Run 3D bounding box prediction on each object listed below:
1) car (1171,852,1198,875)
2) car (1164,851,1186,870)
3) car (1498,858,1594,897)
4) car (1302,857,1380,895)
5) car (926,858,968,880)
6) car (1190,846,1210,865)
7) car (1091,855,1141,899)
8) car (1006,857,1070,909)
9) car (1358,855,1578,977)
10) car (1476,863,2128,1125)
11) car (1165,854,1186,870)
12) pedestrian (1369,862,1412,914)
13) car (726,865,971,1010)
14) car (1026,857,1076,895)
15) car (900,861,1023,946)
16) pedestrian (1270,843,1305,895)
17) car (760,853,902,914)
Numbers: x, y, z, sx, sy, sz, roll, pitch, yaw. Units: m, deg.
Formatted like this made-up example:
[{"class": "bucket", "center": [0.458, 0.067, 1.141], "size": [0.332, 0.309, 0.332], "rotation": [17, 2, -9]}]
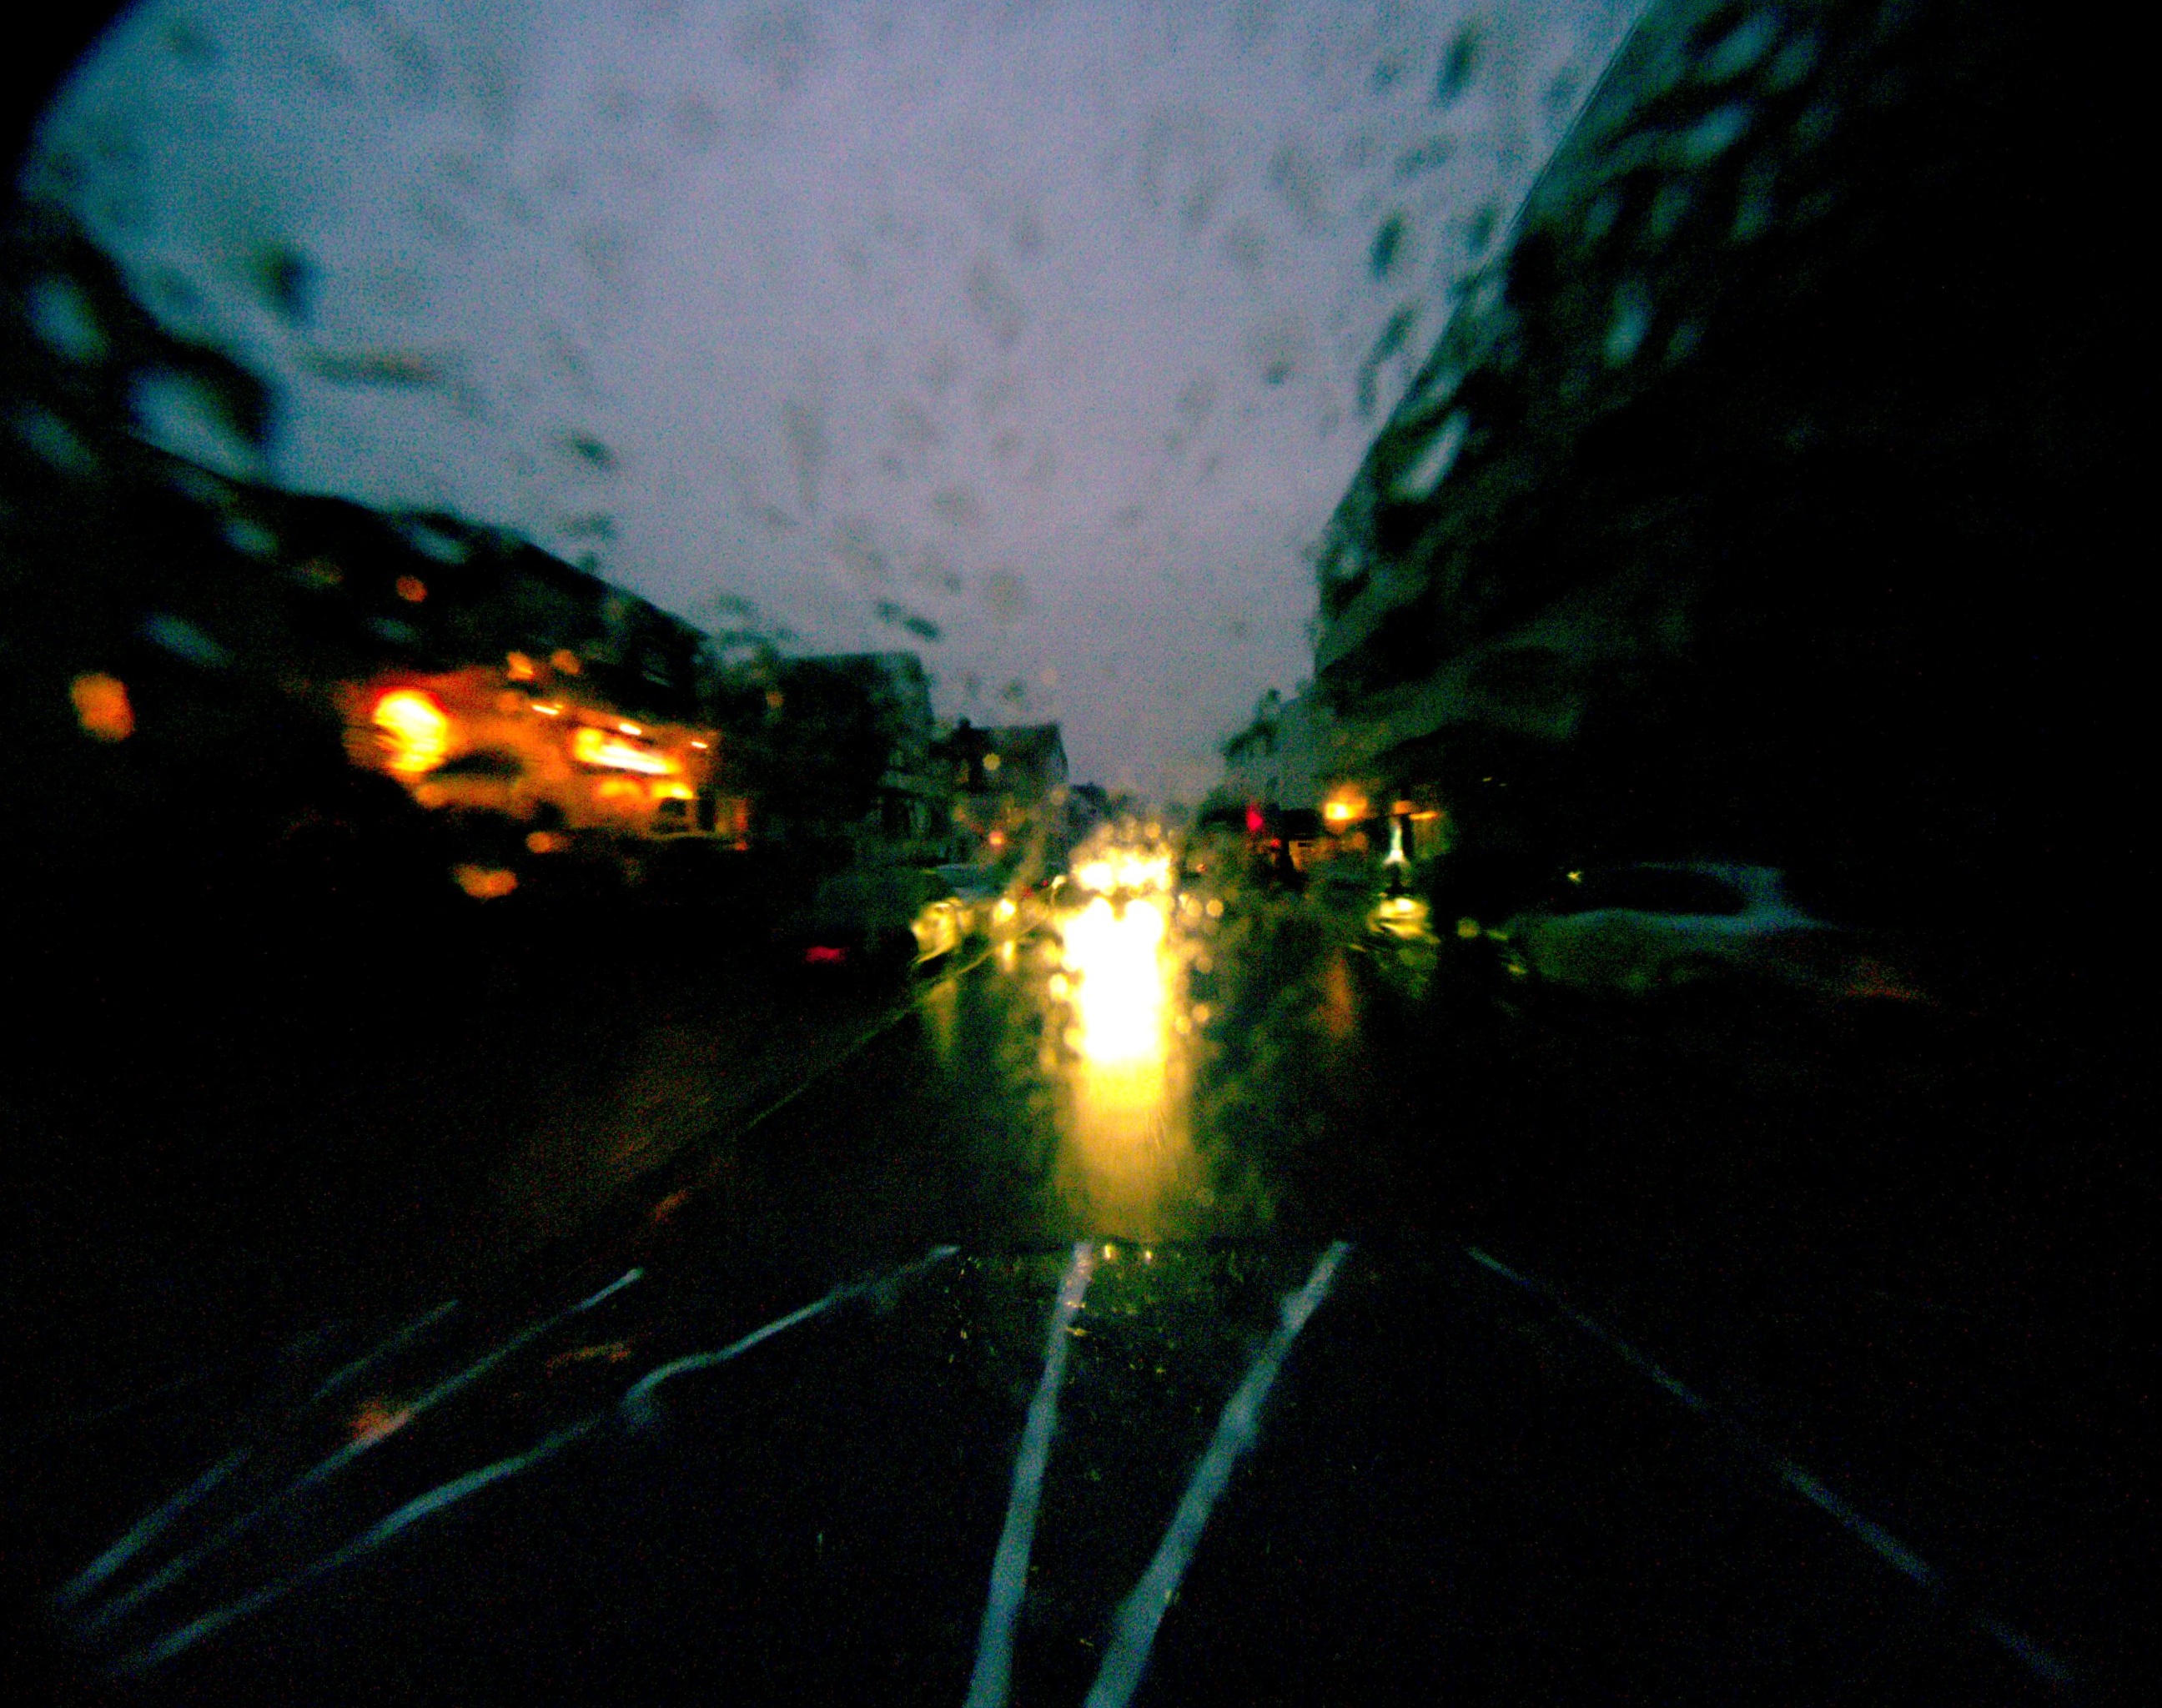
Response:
[{"class": "car", "center": [7.825, 0.697, 57.508], "size": [1.725, 1.604, 3.817], "rotation": [-3, 0, 4]}, {"class": "car", "center": [10.292, 0.718, 82.991], "size": [1.883, 1.888, 4.839], "rotation": [-2, -1, 12]}, {"class": "car", "center": [18.617, 0.940, 30.667], "size": [1.700, 1.455, 4.454], "rotation": [0, -1, 8]}, {"class": "car", "center": [10.854, 0.903, 32.040], "size": [1.768, 1.490, 4.451], "rotation": [0, -1, 0]}, {"class": "car", "center": [-9.677, 1.055, 54.718], "size": [1.798, 1.459, 4.215], "rotation": [1, -1, -28]}, {"class": "car", "center": [17.424, 0.245, 111.298], "size": [2.044, 2.643, 4.216], "rotation": [-3, -1, 19]}, {"class": "car", "center": [1.448, 0.883, 30.808], "size": [1.878, 1.622, 4.001], "rotation": [-1, 0, 3]}, {"class": "car", "center": [-1.363, 0.910, 25.860], "size": [1.768, 1.518, 4.389], "rotation": [2, 1, 2]}, {"class": "car", "center": [5.809, 0.819, 11.964], "size": [1.618, 1.524, 3.929], "rotation": [-2, 0, 4]}, {"class": "car", "center": [5.509, 0.880, 6.813], "size": [1.679, 1.438, 4.428], "rotation": [-3, 0, 2]}, {"class": "car", "center": [9.185, 0.758, 73.730], "size": [1.797, 1.448, 4.397], "rotation": [-2, 0, 9]}, {"class": "pedestrian", "center": [8.151, 0.875, 20.040], "size": [0.757, 1.303, 0.828], "rotation": [-2, 1, 1]}, {"class": "car", "center": [-2.852, 0.934, 10.516], "size": [1.827, 1.415, 4.608], "rotation": [2, 1, 2]}, {"class": "car", "center": [-1.208, 0.896, 32.690], "size": [1.736, 1.450, 4.001], "rotation": [2, 1, 3]}, {"class": "car", "center": [-2.334, 0.926, 15.817], "size": [1.630, 1.433, 3.801], "rotation": [2, 1, 5]}, {"class": "pedestrian", "center": [7.798, 0.563, 28.757], "size": [1.200, 1.927, 0.977], "rotation": [0, 0, 11]}, {"class": "car", "center": [-6.824, 0.783, 20.994], "size": [3.297, 1.433, 1.686], "rotation": [2, 1, 2]}]
